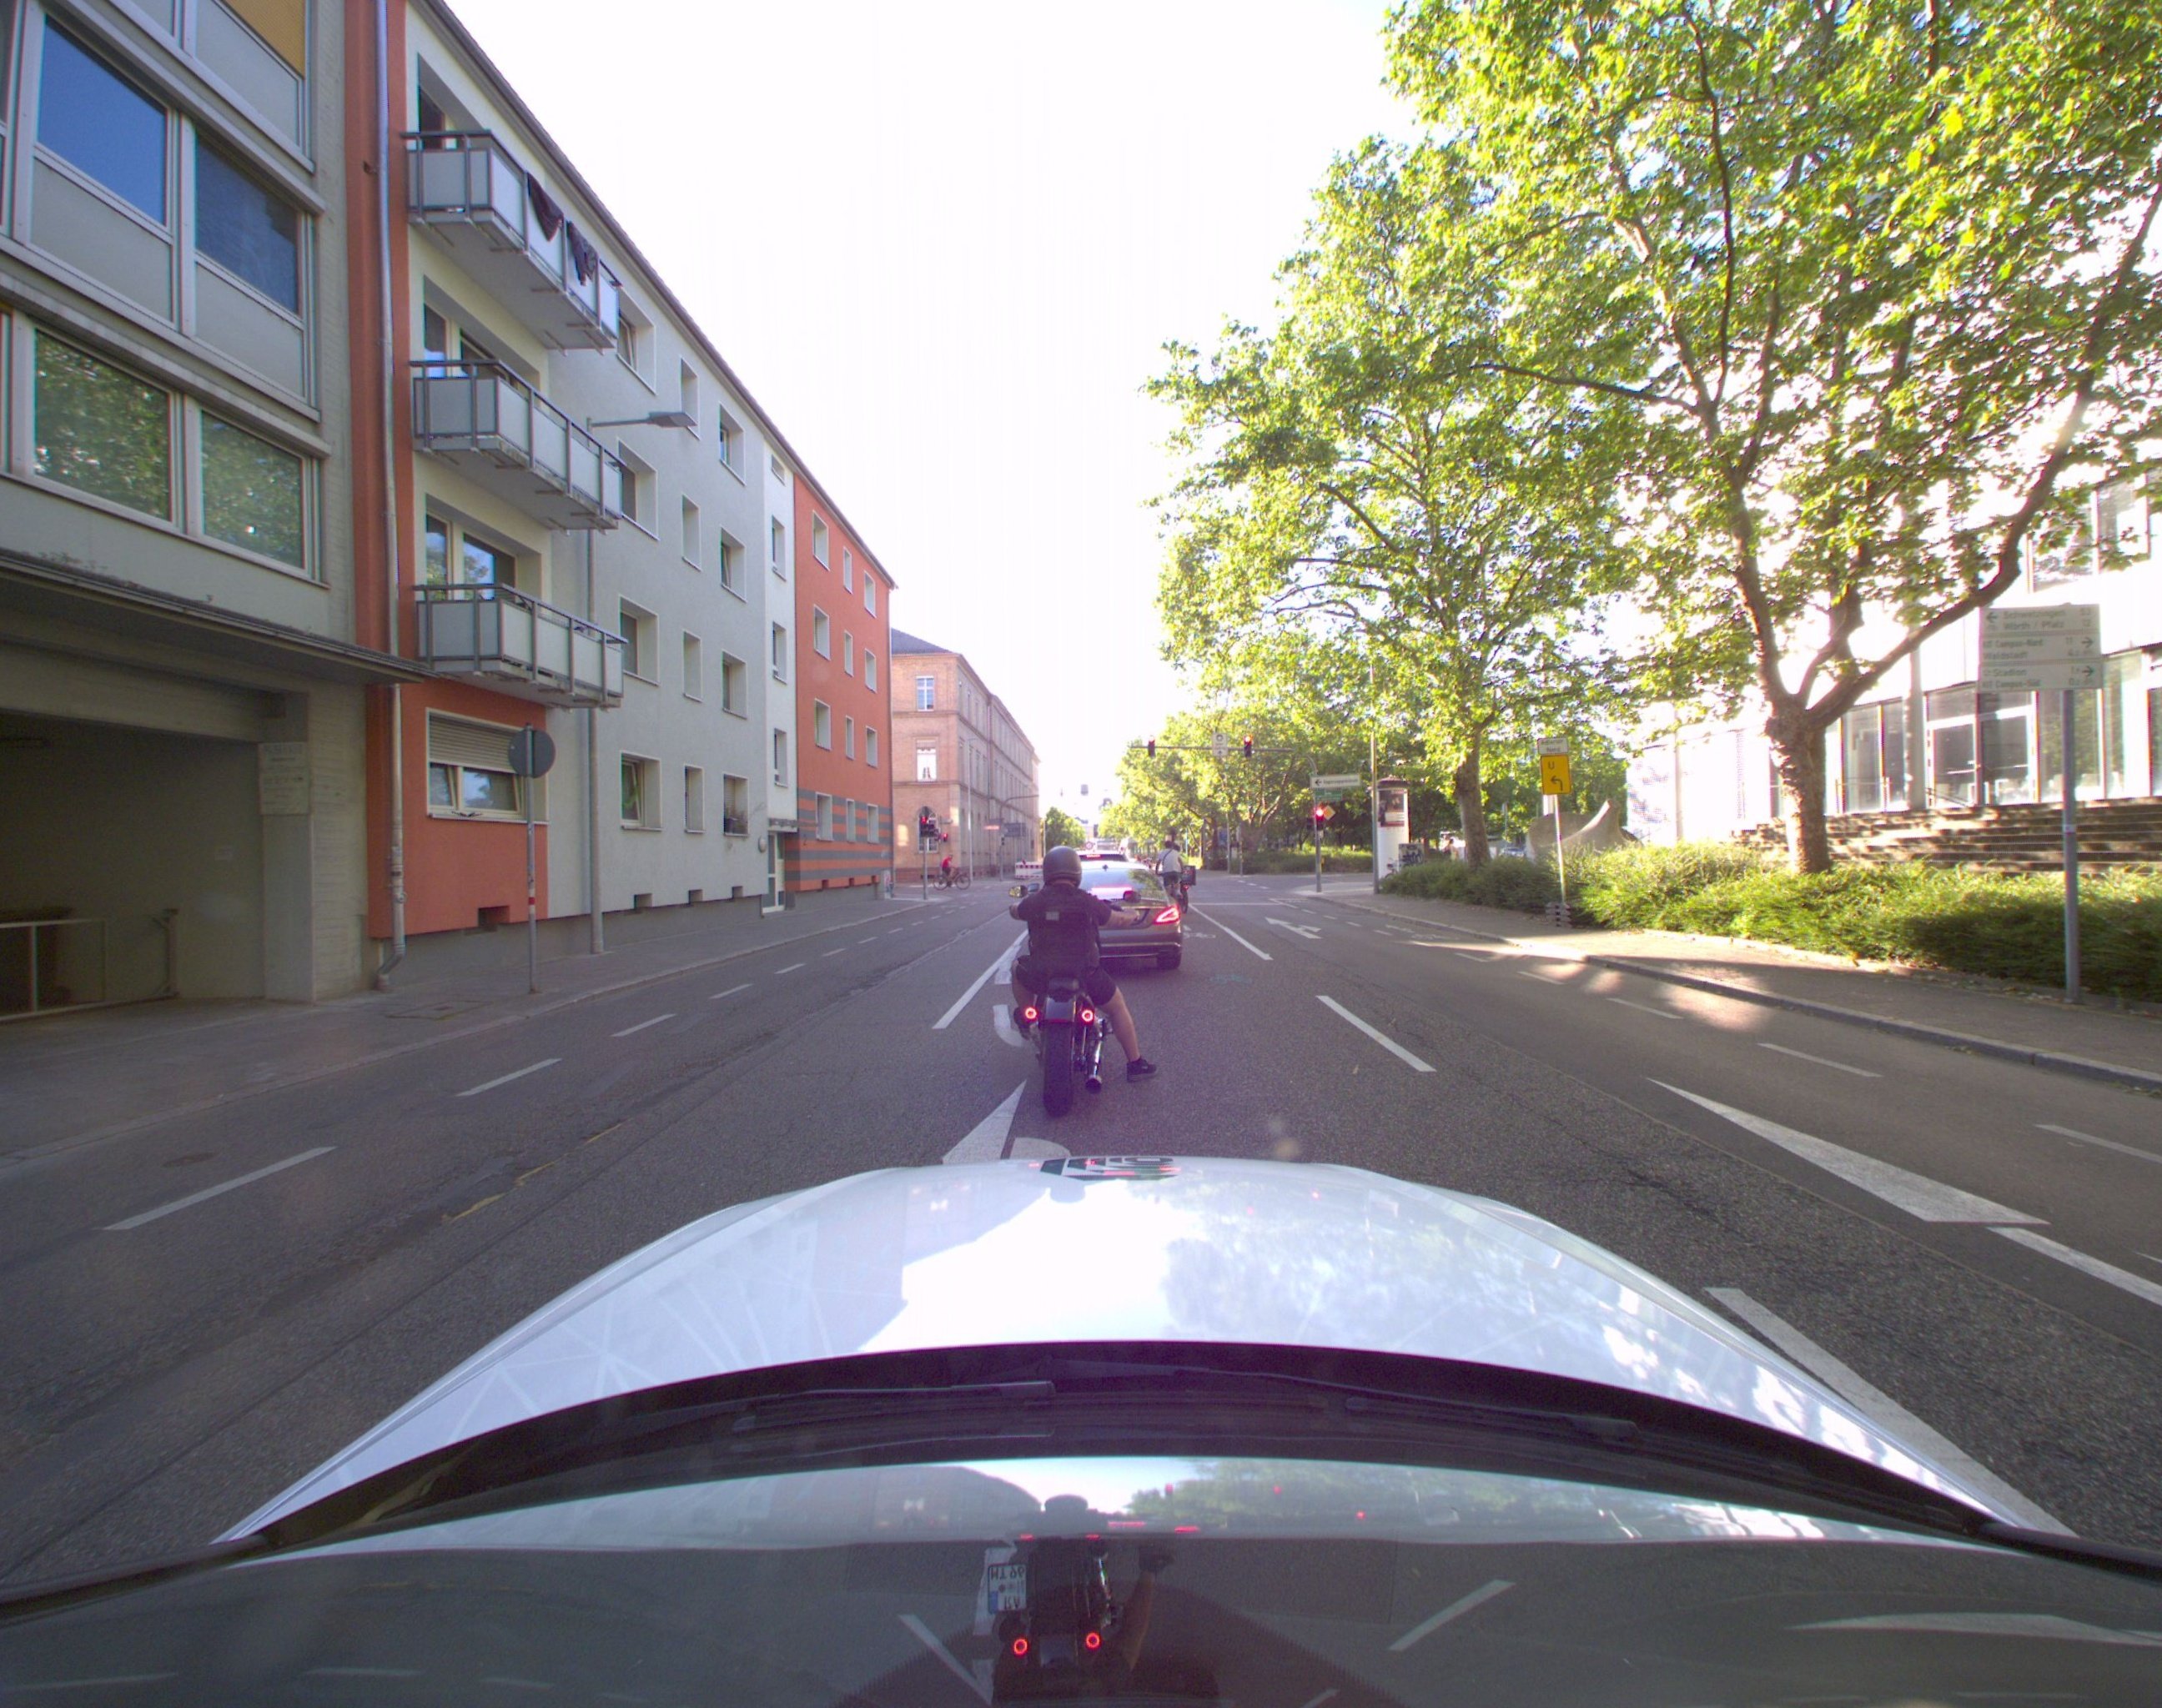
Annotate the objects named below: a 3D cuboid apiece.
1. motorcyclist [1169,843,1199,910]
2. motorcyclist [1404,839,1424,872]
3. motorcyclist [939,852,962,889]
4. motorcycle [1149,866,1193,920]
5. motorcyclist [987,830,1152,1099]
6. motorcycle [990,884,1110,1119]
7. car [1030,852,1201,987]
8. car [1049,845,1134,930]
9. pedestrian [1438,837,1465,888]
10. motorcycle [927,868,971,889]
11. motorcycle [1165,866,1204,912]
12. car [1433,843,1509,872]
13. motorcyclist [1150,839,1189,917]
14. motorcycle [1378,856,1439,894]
[{"bbox_3d":[2.704,0.589,21.503,0.714,1.743,0.751,0,-1,1],"label":"motorcyclist"},{"bbox_3d":[19.221,0.103,47.017,0.978,1.876,0.377,-1,-1,6],"label":"motorcyclist"},{"bbox_3d":[-6.204,0.786,38.731,0.981,1.722,0.551,0,-1,2],"label":"motorcyclist"},{"bbox_3d":[2.059,0.867,18.886,0.859,1.168,1.930,0,-1,2],"label":"motorcycle"},{"bbox_3d":[-0.053,0.670,5.456,0.986,1.611,1.121,0,-1,1],"label":"motorcyclist"},{"bbox_3d":[-0.141,0.855,5.549,0.657,1.240,2.058,0,-1,2],"label":"motorcycle"},{"bbox_3d":[0.262,0.744,11.252,1.821,1.486,4.325,0,-1,-5],"label":"car"},{"bbox_3d":[0.277,0.666,17.823,1.645,1.652,4.002,0,-1,2],"label":"car"},{"bbox_3d":[13.512,0.312,29.683,0.645,1.827,0.667,-1,0,1],"label":"pedestrian"},{"bbox_3d":[-6.265,1.158,38.729,2.004,0.962,0.581,0,-1,2],"label":"motorcycle"},{"bbox_3d":[2.714,0.900,21.518,0.794,1.131,2.237,0,-1,2],"label":"motorcycle"},{"bbox_3d":[24.630,0.206,51.531,3.974,1.772,1.738,-1,0,-1],"label":"car"},{"bbox_3d":[2.052,0.549,18.989,0.828,1.788,0.913,0,-1,1],"label":"motorcyclist"},{"bbox_3d":[11.072,0.712,27.552,1.771,1.243,0.724,0,-1,7],"label":"motorcycle"}]
